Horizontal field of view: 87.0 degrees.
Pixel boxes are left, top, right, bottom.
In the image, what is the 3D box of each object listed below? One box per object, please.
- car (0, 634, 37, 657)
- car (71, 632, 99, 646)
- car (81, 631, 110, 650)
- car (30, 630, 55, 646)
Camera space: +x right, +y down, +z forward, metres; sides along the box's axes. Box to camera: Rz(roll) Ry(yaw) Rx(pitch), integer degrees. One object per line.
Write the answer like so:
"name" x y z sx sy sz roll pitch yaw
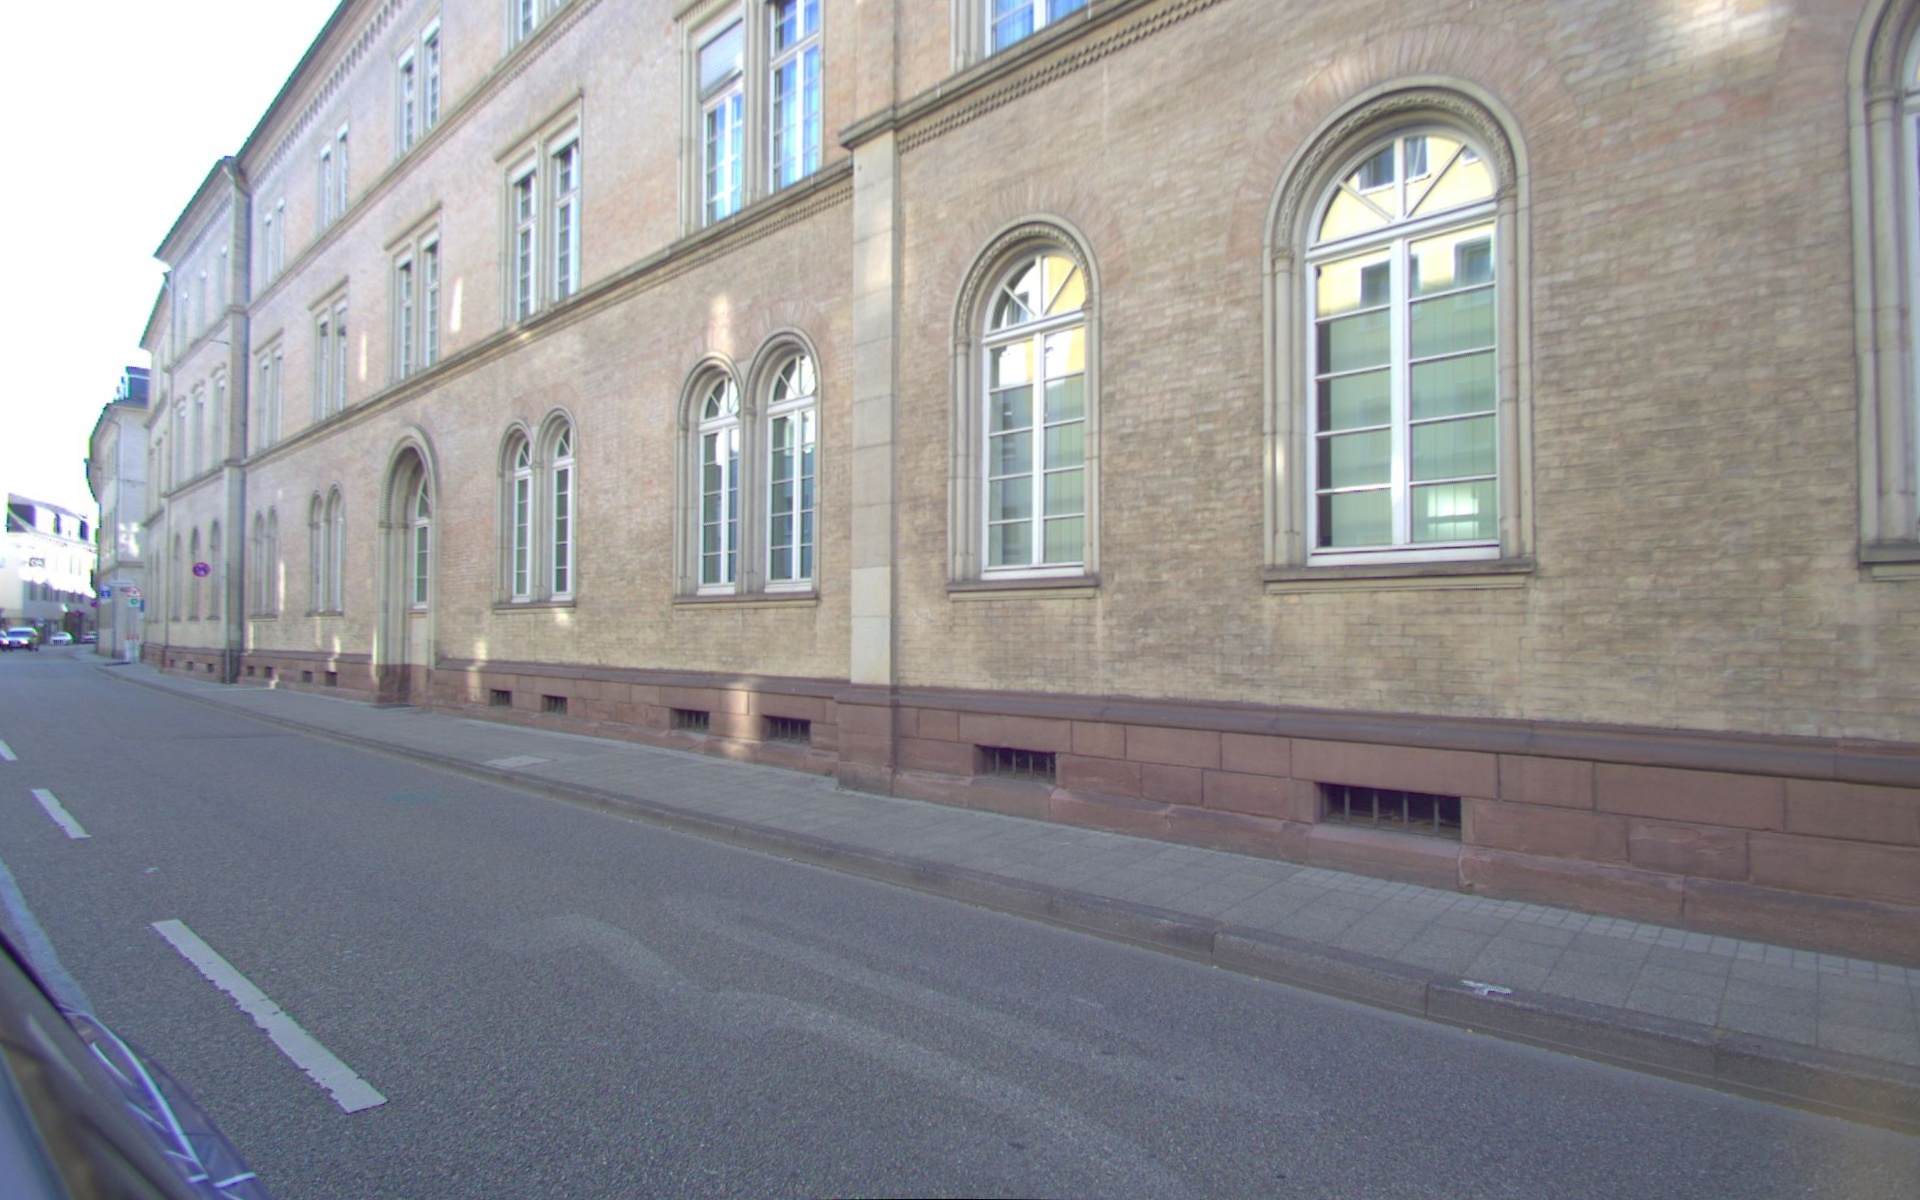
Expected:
"car" -72.905 3.520 78.329 1.894 1.735 4.969 1 -2 -39
"car" -109.326 4.897 126.520 1.896 1.737 4.242 1 -2 -31
"car" -80.261 3.779 93.975 1.638 1.737 3.748 1 -2 -36
"car" -102.433 4.223 112.977 1.511 1.737 3.749 1 -2 -34
